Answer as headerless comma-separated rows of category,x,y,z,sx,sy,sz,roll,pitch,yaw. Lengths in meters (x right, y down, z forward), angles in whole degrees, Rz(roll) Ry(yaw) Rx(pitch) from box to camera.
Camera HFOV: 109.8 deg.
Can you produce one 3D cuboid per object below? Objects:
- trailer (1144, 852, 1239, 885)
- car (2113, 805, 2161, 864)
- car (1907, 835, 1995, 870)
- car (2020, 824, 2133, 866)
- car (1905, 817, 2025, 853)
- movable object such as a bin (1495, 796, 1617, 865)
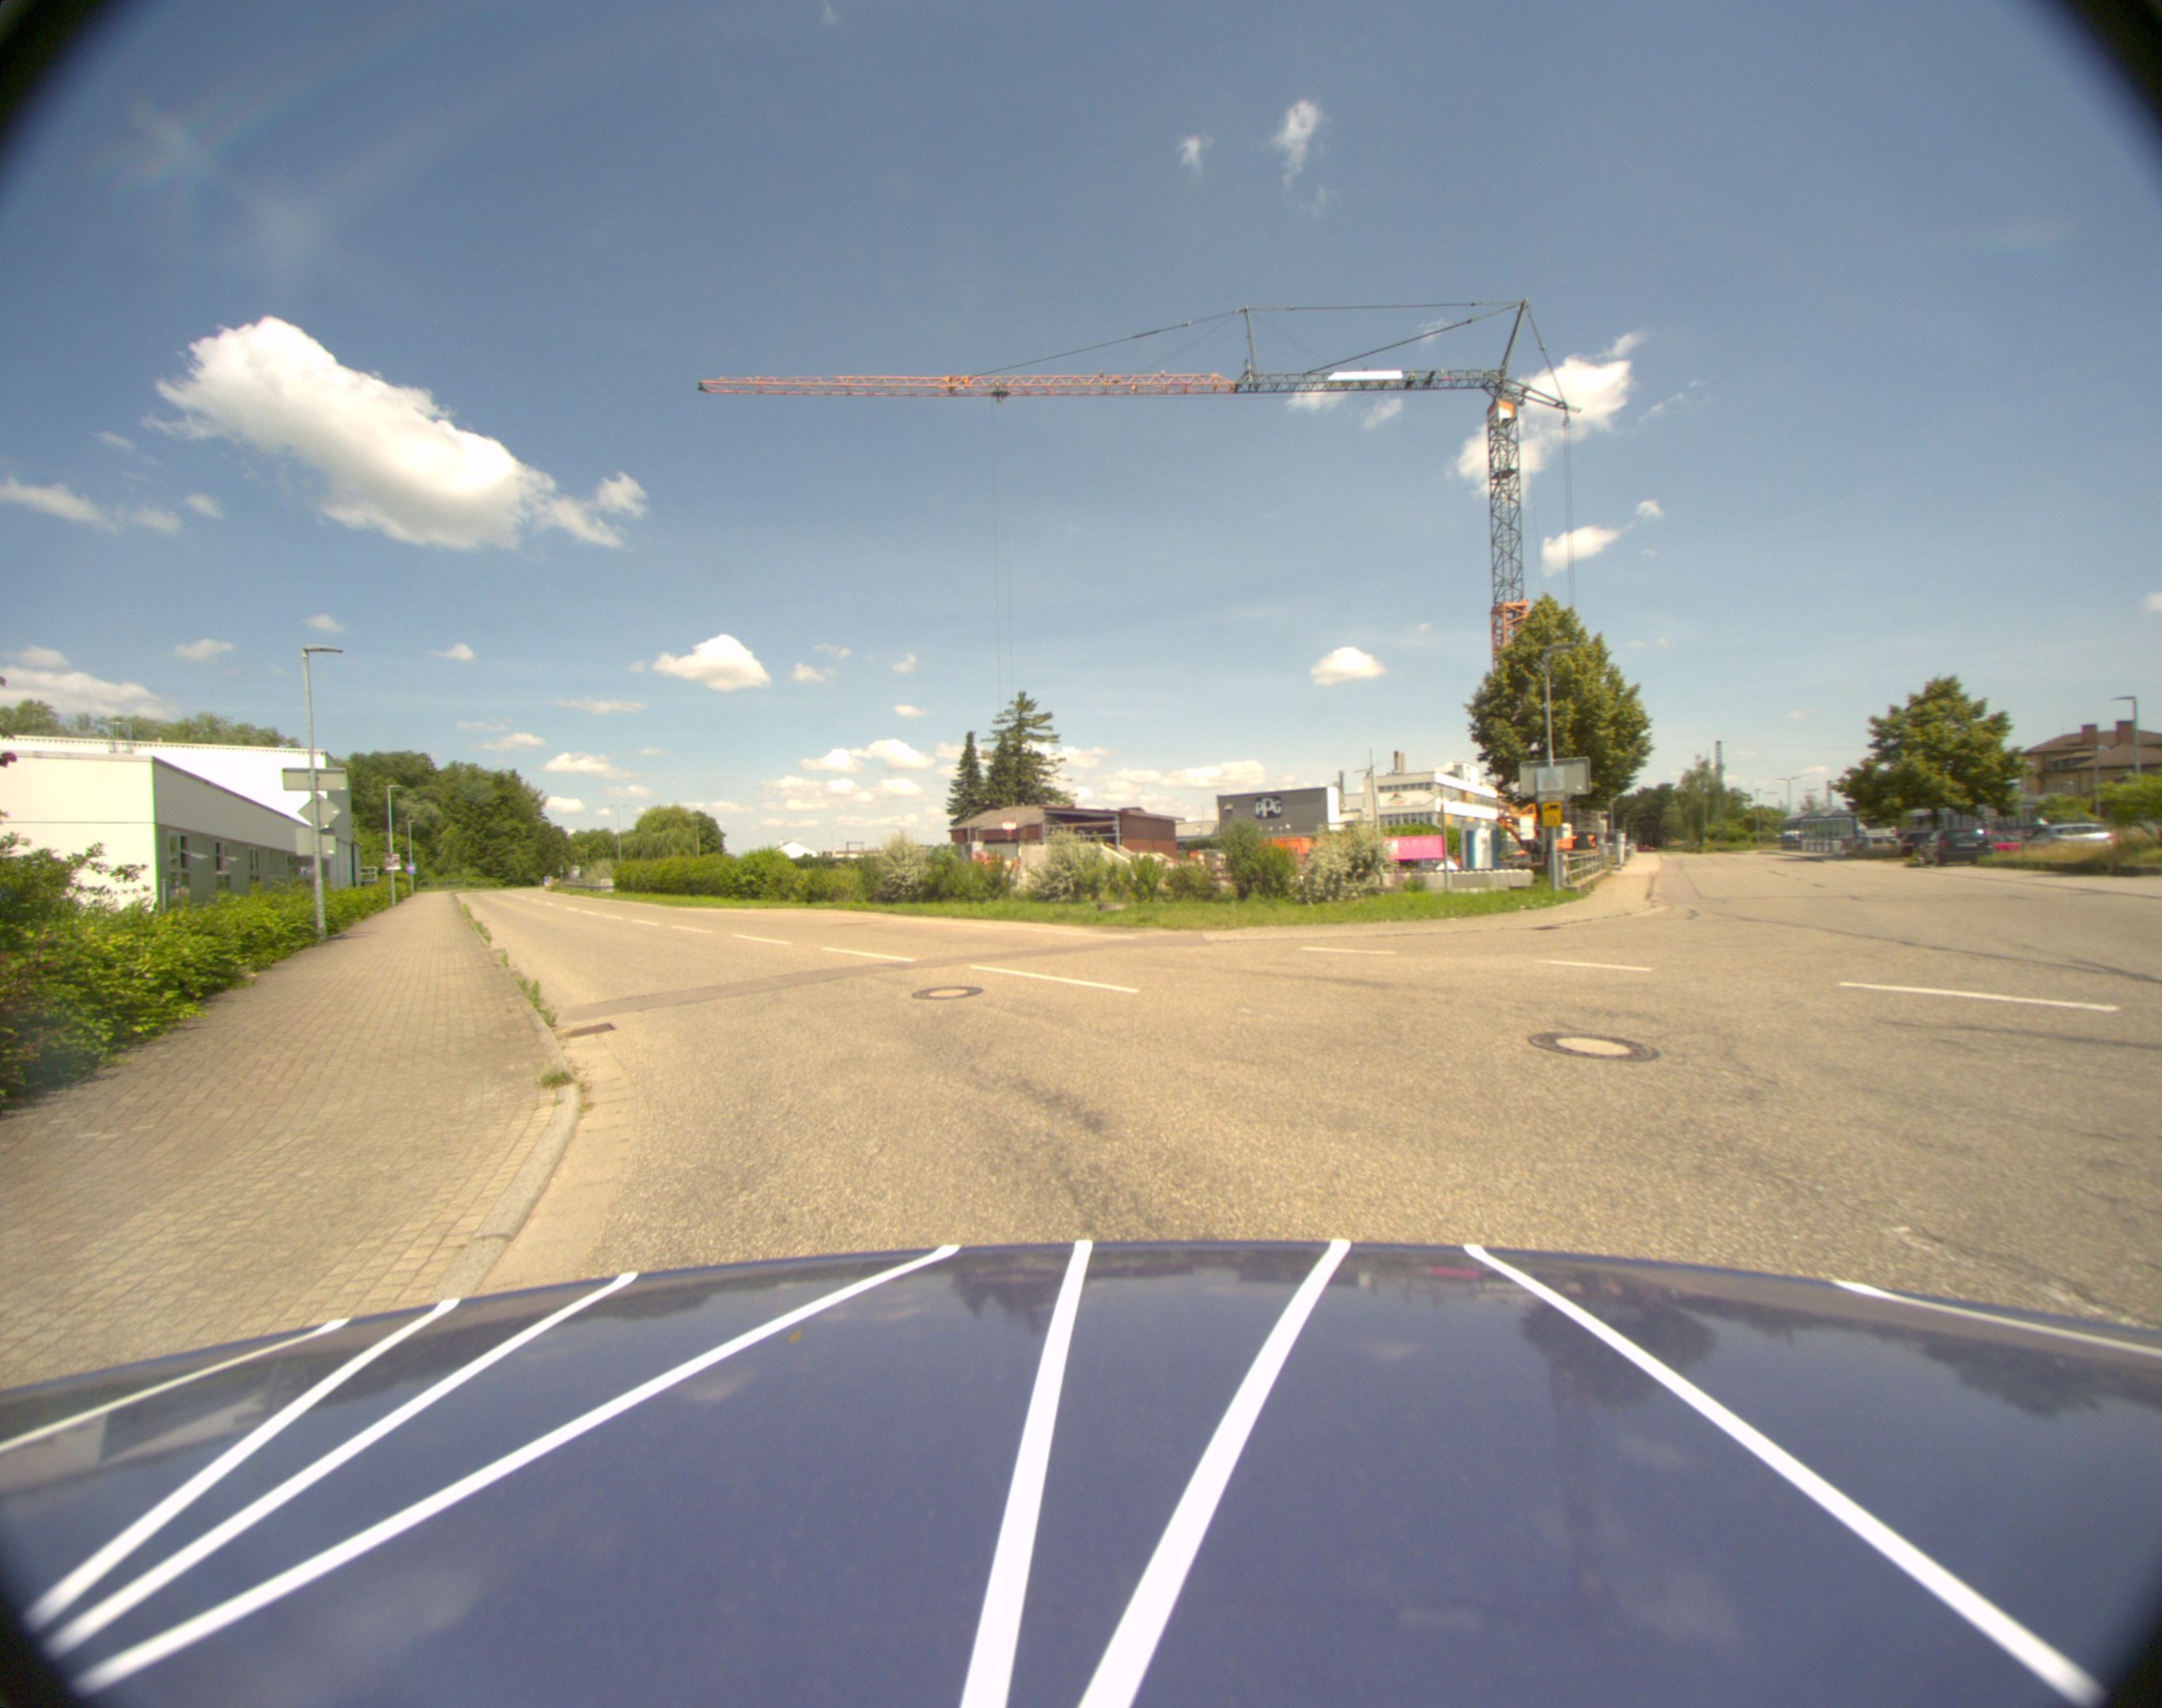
trailer,6.757,0.893,46.564,5.387,1.769,1.824,-2,2,22
car,31.931,-0.582,21.755,1.729,1.676,4.008,-1,1,37
car,36.451,-0.074,31.925,1.604,1.341,4.008,-2,0,37
car,38.643,-0.367,29.606,1.604,1.513,4.008,-2,0,37
car,42.804,-0.937,36.906,3.429,1.583,1.652,-2,2,30
movable object such as a bin,25.364,-1.265,40.795,5.119,3.276,2.397,-2,6,18
